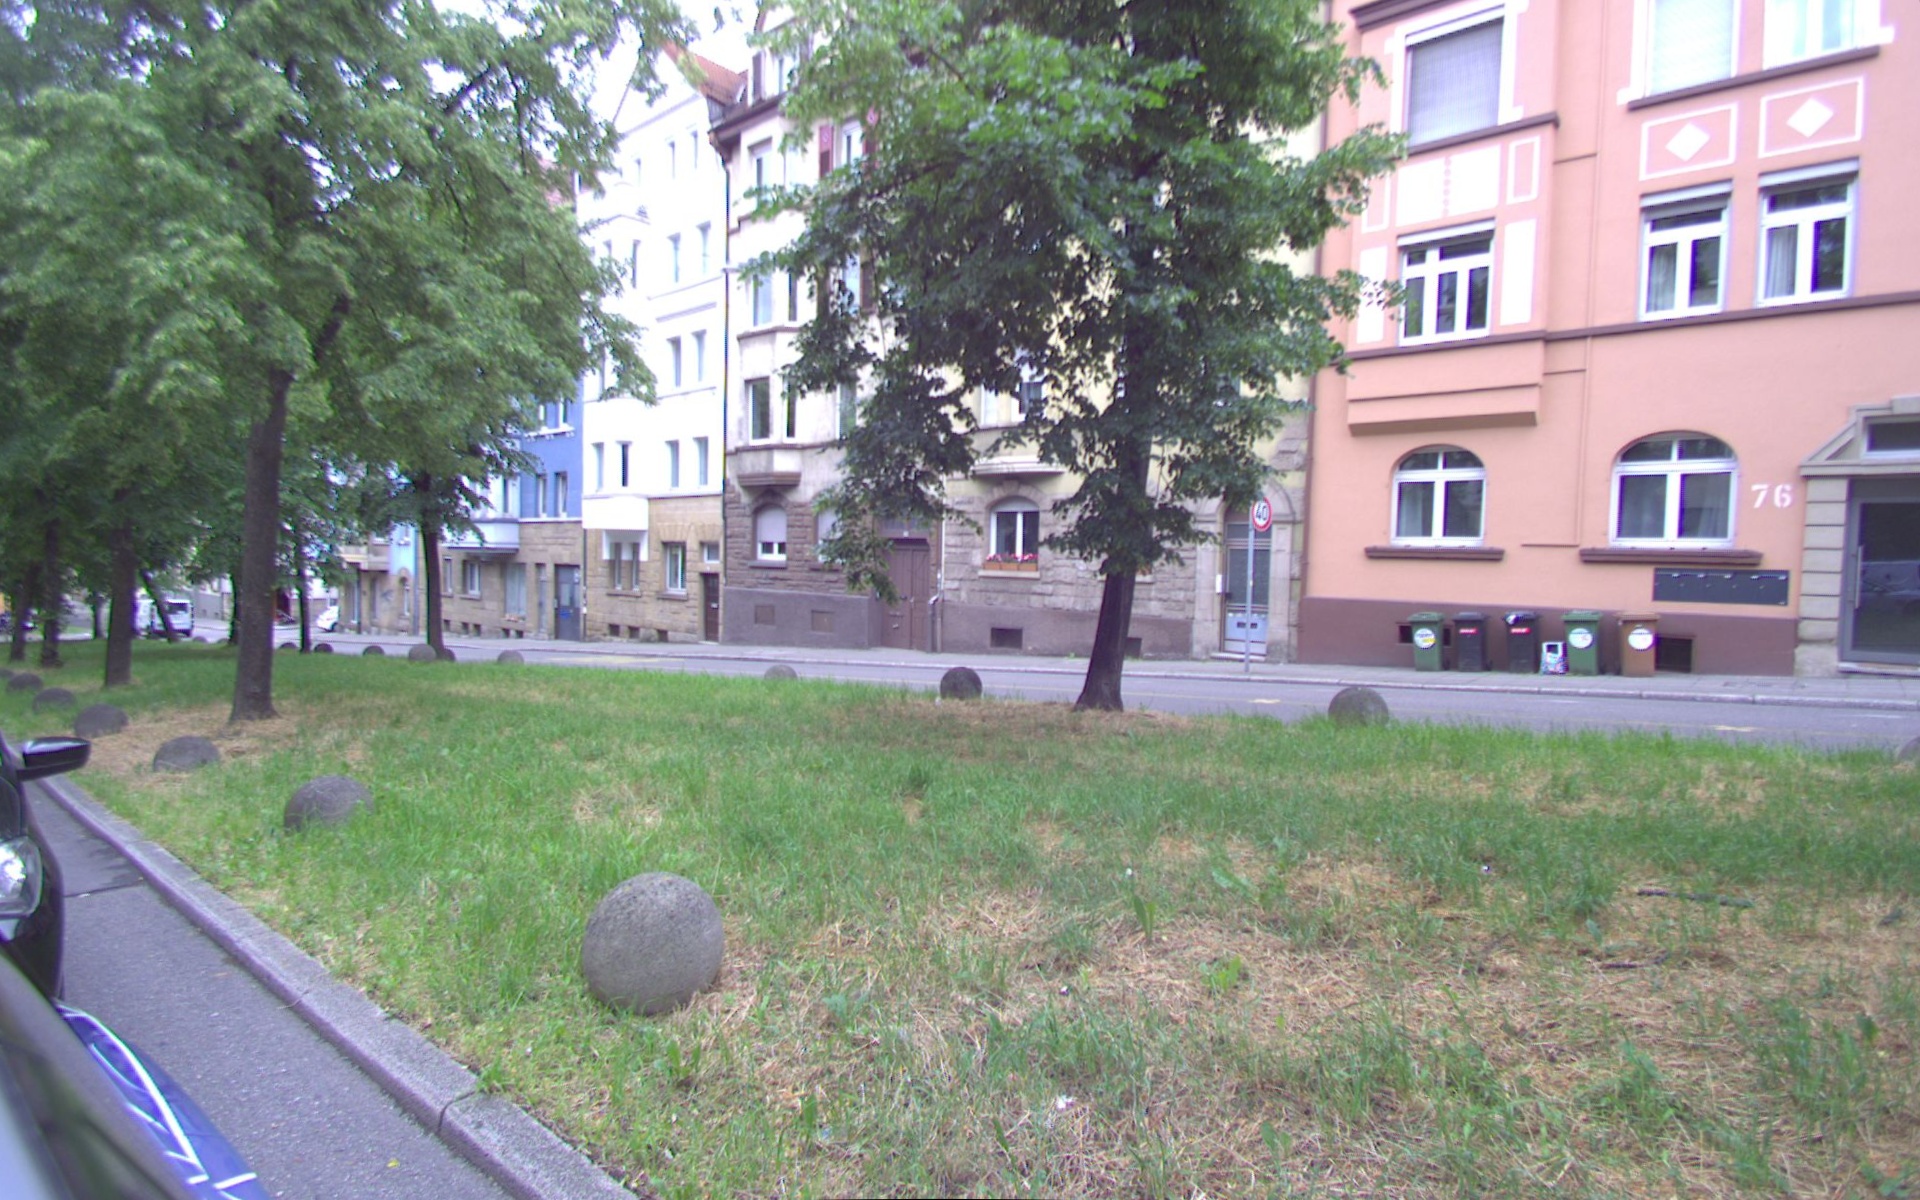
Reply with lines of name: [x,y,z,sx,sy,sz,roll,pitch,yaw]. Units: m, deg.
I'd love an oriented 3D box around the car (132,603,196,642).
car: [-42.562,1.188,54.090,5.308,1.959,1.971,-2,0,44]

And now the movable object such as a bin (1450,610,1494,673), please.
movable object such as a bin: [7.974,0.639,15.769,0.531,0.953,0.575,-1,0,35]

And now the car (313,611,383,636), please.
car: [-35.371,1.316,58.477,3.244,1.341,1.674,-1,0,-40]

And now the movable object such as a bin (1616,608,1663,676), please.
movable object such as a bin: [9.635,0.582,14.346,0.514,0.928,0.750,-1,0,36]

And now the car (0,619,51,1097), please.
car: [-4.662,0.797,3.696,3.295,1.476,1.590,-1,-2,41]

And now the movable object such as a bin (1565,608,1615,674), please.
movable object such as a bin: [9.176,0.588,14.739,0.558,0.928,0.648,-1,0,36]

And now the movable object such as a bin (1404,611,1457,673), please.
movable object such as a bin: [7.517,0.662,16.169,0.617,0.955,0.610,-1,0,40]
